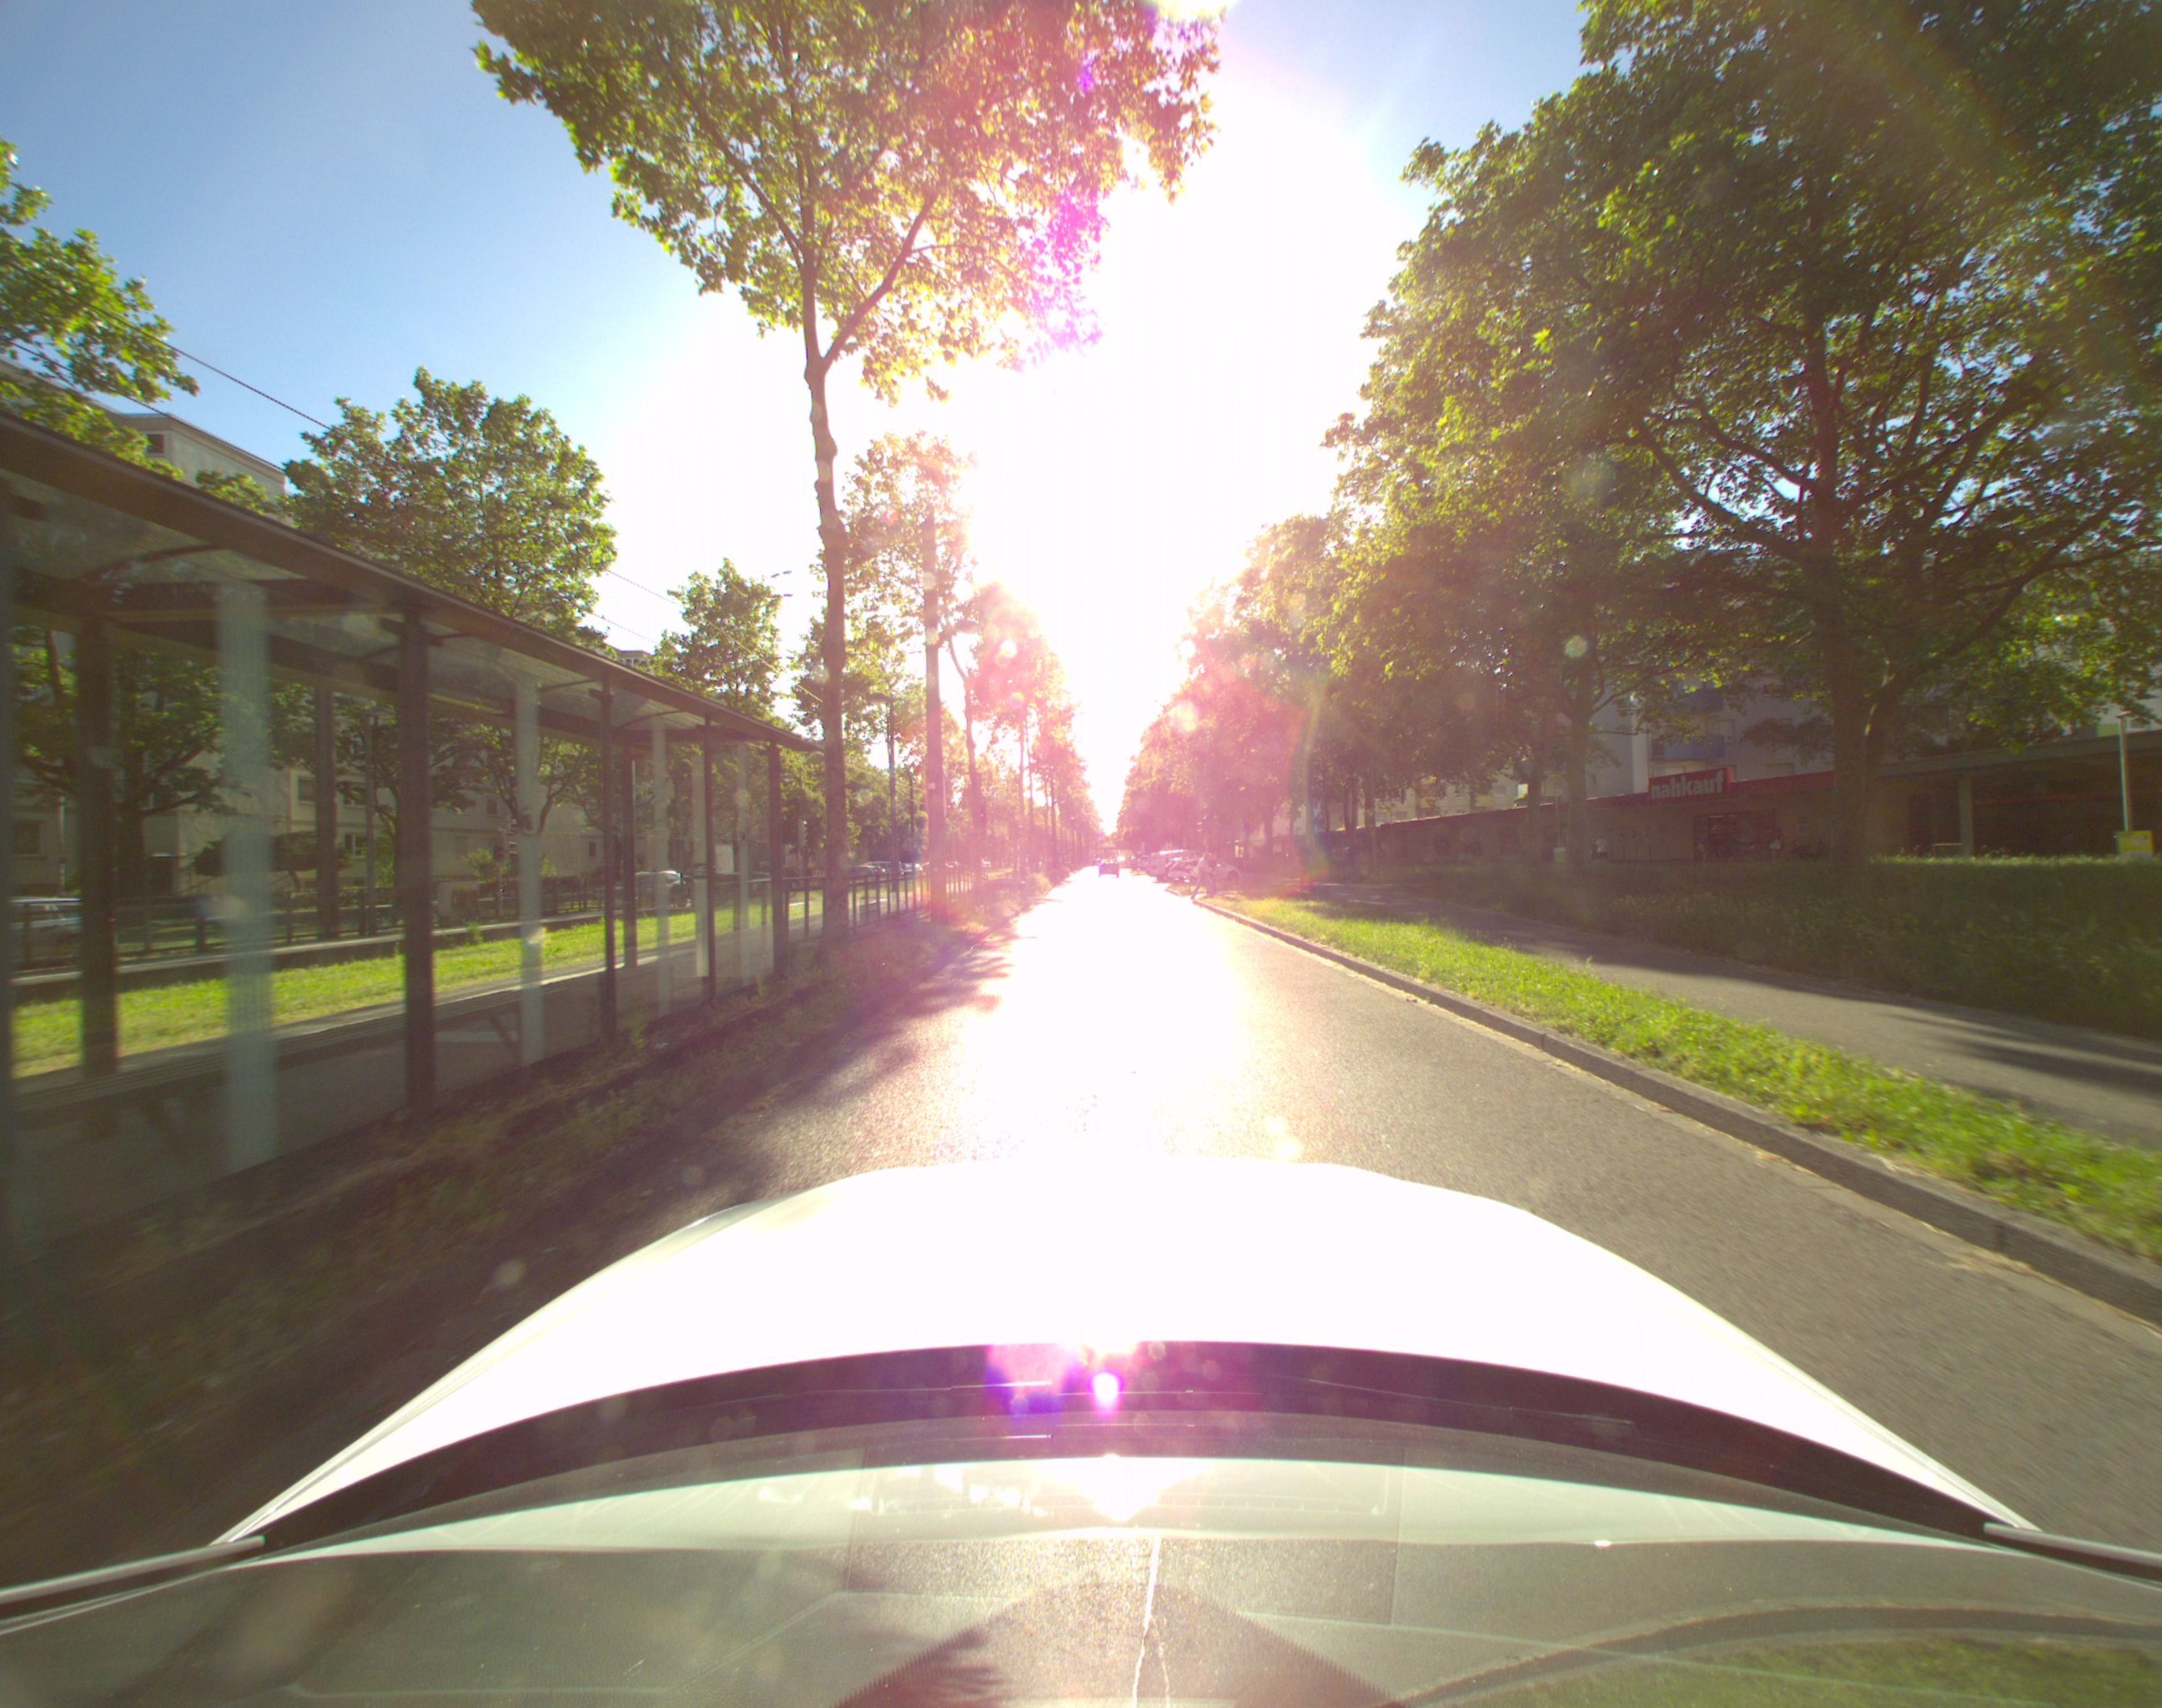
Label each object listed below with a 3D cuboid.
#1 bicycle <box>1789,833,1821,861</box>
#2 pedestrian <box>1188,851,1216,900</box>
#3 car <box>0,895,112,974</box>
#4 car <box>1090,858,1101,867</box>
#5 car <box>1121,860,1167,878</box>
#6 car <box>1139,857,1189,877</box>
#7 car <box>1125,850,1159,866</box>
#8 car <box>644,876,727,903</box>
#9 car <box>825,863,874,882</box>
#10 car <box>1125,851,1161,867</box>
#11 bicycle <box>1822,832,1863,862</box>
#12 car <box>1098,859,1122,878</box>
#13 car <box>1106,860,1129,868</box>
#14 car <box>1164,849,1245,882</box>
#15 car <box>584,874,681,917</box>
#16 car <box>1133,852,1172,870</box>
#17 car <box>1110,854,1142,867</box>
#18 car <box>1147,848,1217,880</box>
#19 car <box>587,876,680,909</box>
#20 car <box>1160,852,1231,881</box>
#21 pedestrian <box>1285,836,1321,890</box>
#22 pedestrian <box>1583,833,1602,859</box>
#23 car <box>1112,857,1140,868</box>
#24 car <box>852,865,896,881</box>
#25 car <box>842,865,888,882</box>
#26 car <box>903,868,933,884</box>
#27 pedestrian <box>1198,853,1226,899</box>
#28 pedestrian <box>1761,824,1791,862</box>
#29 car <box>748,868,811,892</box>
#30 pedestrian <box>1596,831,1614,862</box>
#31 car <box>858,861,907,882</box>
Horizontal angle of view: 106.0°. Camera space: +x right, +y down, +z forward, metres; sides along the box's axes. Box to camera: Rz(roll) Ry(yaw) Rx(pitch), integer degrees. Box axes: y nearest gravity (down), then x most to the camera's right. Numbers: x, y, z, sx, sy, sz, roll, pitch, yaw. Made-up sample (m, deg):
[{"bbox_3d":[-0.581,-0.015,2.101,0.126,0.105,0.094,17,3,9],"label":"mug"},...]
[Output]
[{"bbox_3d":[30.977,-0.283,34.854,0.591,1.179,1.862,-1,0,29],"label":"bicycle"},{"bbox_3d":[4.374,0.754,29.425,0.835,1.722,0.833,-2,0,16],"label":"pedestrian"},{"bbox_3d":[-23.124,1.738,16.532,1.707,1.546,4.203,-2,0,2],"label":"car"},{"bbox_3d":[2.576,1.429,143.846,1.842,1.535,3.868,-2,0,2],"label":"car"},{"bbox_3d":[5.436,1.298,69.875,3.961,1.373,1.568,-2,0,-42],"label":"car"},{"bbox_3d":[6.943,1.037,67.866,4.208,1.412,1.699,-3,-1,-42],"label":"car"},{"bbox_3d":[7.532,0.481,99.922,4.106,1.811,1.632,-3,-1,-39],"label":"car"},{"bbox_3d":[-22.249,1.967,45.873,3.846,1.246,1.818,-2,0,-41],"label":"car"},{"bbox_3d":[-22.135,1.787,78.003,4.107,1.646,1.631,-2,-2,-41],"label":"car"},{"bbox_3d":[6.796,0.538,88.934,3.809,1.470,1.631,-3,-1,-42],"label":"car"},{"bbox_3d":[31.129,-0.292,33.324,0.592,1.179,1.861,-1,0,23],"label":"bicycle"},{"bbox_3d":[2.364,1.182,67.070,1.915,1.411,4.000,-1,0,1],"label":"car"},{"bbox_3d":[7.239,1.974,162.949,1.955,1.459,4.652,-3,-1,45],"label":"car"},{"bbox_3d":[6.605,0.615,43.523,4.011,1.469,1.743,-4,0,-30],"label":"car"},{"bbox_3d":[-18.845,1.702,34.457,1.706,1.546,3.937,-2,0,3],"label":"car"},{"bbox_3d":[7.618,0.764,86.396,4.049,1.705,1.740,-3,-1,-40],"label":"car"},{"bbox_3d":[6.314,0.919,113.915,4.341,1.717,1.617,-3,0,-38],"label":"car"},{"bbox_3d":[6.698,0.642,53.745,4.694,1.853,1.809,-3,-1,-39],"label":"car"},{"bbox_3d":[-23.186,1.967,42.275,1.817,1.435,3.849,-2,0,42],"label":"car"},{"bbox_3d":[6.986,0.780,49.565,4.011,1.429,1.782,-4,0,-30],"label":"car"},{"bbox_3d":[7.957,0.322,29.157,0.926,1.885,0.797,-2,0,-13],"label":"pedestrian"},{"bbox_3d":[28.206,-0.437,44.915,0.530,1.430,0.715,-2,0,-4],"label":"pedestrian"},{"bbox_3d":[7.458,1.411,134.236,4.519,1.443,1.834,-3,-1,-43],"label":"car"},{"bbox_3d":[-21.680,1.990,85.315,4.107,1.432,1.561,-2,0,-41],"label":"car"},{"bbox_3d":[-21.457,1.948,81.092,4.107,1.483,1.632,-2,-1,-41],"label":"car"},{"bbox_3d":[-16.509,2.204,82.773,1.985,1.389,4.171,-2,0,3],"label":"car"},{"bbox_3d":[5.082,0.857,31.671,0.715,1.706,0.647,-3,-1,-33],"label":"pedestrian"},{"bbox_3d":[29.869,-0.465,35.007,0.669,1.584,0.715,-2,0,-4],"label":"pedestrian"},{"bbox_3d":[-22.560,1.901,60.989,1.631,1.475,4.110,3,4,44],"label":"car"},{"bbox_3d":[28.965,-0.409,45.029,0.494,1.700,0.715,-2,0,-4],"label":"pedestrian"},{"bbox_3d":[-21.633,1.864,88.630,4.821,2.006,1.871,-2,1,-37],"label":"car"}]
